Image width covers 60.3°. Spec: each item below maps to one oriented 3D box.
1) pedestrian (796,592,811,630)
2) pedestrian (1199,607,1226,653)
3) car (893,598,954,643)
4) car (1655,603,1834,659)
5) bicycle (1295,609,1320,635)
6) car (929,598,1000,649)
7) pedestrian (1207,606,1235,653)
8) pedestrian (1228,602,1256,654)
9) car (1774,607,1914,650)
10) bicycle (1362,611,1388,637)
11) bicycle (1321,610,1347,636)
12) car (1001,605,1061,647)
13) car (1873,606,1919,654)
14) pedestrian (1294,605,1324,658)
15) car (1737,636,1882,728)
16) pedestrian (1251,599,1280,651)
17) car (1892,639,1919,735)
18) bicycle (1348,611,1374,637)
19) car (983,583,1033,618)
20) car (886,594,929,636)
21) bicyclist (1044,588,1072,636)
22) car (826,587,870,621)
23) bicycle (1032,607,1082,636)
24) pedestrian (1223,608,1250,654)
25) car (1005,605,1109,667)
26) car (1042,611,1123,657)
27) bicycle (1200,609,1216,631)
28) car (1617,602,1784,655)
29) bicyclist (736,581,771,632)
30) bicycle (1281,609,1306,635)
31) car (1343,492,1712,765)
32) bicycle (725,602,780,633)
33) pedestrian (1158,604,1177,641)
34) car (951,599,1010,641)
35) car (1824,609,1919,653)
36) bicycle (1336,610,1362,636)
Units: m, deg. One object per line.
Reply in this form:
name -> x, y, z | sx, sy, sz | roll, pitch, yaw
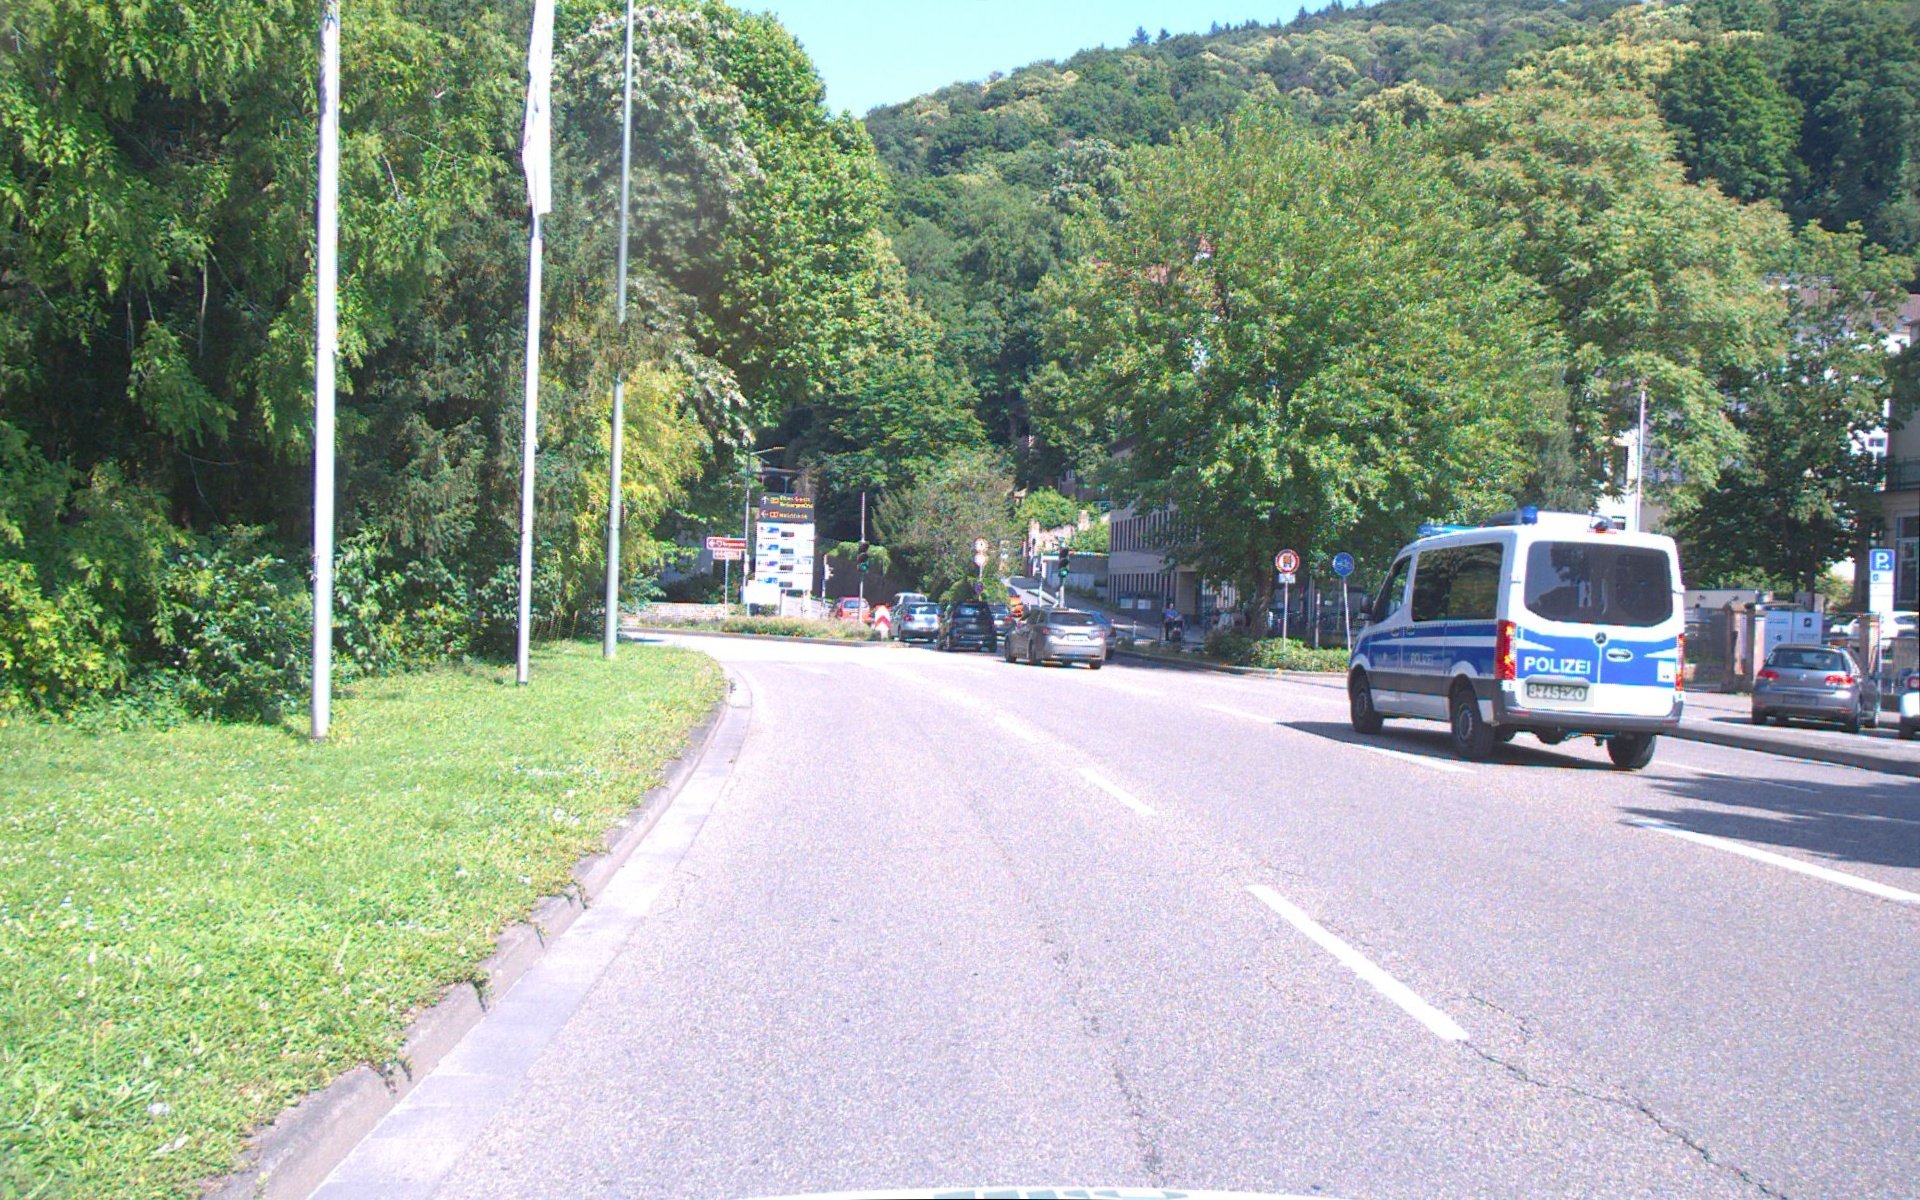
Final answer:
pedestrian -> -6.765, 0.481, 71.646 | 0.535, 1.649, 0.634 | 1, 0, 1
pedestrian -> 9.606, 1.128, 62.907 | 0.756, 1.692, 0.828 | 2, 0, -8
car -> -1.339, 0.723, 59.920 | 1.723, 1.486, 3.639 | 2, 0, -8
car -> 21.147, 0.828, 44.634 | 3.968, 1.359, 1.986 | 2, 0, -11
bicycle -> 15.385, 0.982, 73.257 | 0.527, 1.104, 1.832 | 1, 0, -6
car -> 0.113, 0.718, 52.501 | 1.723, 1.486, 3.487 | 2, 0, -8
pedestrian -> 9.751, 1.096, 61.771 | 0.756, 1.692, 0.828 | 2, 0, -8
pedestrian -> 10.505, 1.047, 61.694 | 0.756, 1.886, 0.828 | 2, 0, -7
car -> 30.233, 0.964, 56.593 | 3.968, 1.359, 1.817 | 2, 0, -11
bicycle -> 18.448, 1.056, 73.576 | 0.527, 1.104, 1.832 | 1, 0, -6
bicycle -> 16.580, 1.011, 73.298 | 0.527, 1.104, 1.832 | 1, 0, -6
car -> 2.761, 1.000, 64.977 | 1.723, 1.486, 3.487 | 2, 0, -8
car -> 30.931, 0.976, 51.647 | 3.976, 1.444, 1.817 | 2, 0, -11
pedestrian -> 12.833, 1.156, 60.812 | 0.757, 1.886, 0.827 | 2, 0, -10
car -> 15.588, 1.452, 30.250 | 1.791, 1.487, 4.092 | 2, 0, 35
pedestrian -> 11.309, 0.920, 61.168 | 0.757, 1.886, 0.827 | 2, 0, -10
car -> 16.828, 1.468, 27.984 | 1.677, 1.538, 3.802 | 2, 0, 32
bicycle -> 17.820, 1.041, 73.481 | 0.527, 1.104, 1.832 | 1, 0, -6
car -> 2.489, 0.038, 86.542 | 1.895, 1.726, 3.992 | 1, 0, -8
car -> -2.648, 0.731, 82.555 | 1.723, 1.972, 3.487 | 2, 0, -8
bicyclist -> 4.089, 0.490, 68.762 | 1.102, 1.966, 0.748 | 2, -1, 4
car -> -5.309, 0.181, 78.025 | 1.723, 1.486, 3.487 | 2, 0, -8
bicycle -> 4.040, 0.901, 68.775 | 2.033, 1.132, 0.757 | 2, 0, 4
pedestrian -> 10.447, 1.159, 62.552 | 0.756, 1.692, 0.828 | 2, 0, -7
car -> 2.333, 0.855, 40.657 | 1.724, 1.357, 3.793 | 2, 0, -9
car -> 3.702, 1.014, 50.603 | 1.723, 1.234, 3.487 | 2, 0, -8
bicycle -> 11.740, 0.938, 78.268 | 0.397, 1.030, 1.339 | 1, 0, -8
car -> 20.999, 0.790, 46.957 | 3.968, 1.359, 1.856 | 2, 0, -11
bicyclist -> -8.204, 0.272, 65.776 | 1.102, 1.966, 0.748 | 2, -1, 17
bicycle -> 14.758, 0.967, 73.190 | 0.527, 1.104, 1.832 | 1, 0, -6
car -> 6.050, 0.286, 18.395 | 2.033, 2.552, 4.924 | 2, 0, -4
bicycle -> -8.249, 0.689, 65.782 | 2.033, 1.132, 0.757 | 2, 0, 17
pedestrian -> 8.482, 0.901, 67.566 | 0.482, 1.483, 0.730 | 1, -1, -20
car -> 0.769, 0.756, 64.746 | 1.723, 1.486, 3.639 | 2, 0, -8
car -> 30.762, 1.028, 54.305 | 4.003, 1.359, 1.817 | 2, 0, -11
bicycle -> 17.240, 1.027, 73.389 | 0.527, 1.104, 1.832 | 1, 0, -6
